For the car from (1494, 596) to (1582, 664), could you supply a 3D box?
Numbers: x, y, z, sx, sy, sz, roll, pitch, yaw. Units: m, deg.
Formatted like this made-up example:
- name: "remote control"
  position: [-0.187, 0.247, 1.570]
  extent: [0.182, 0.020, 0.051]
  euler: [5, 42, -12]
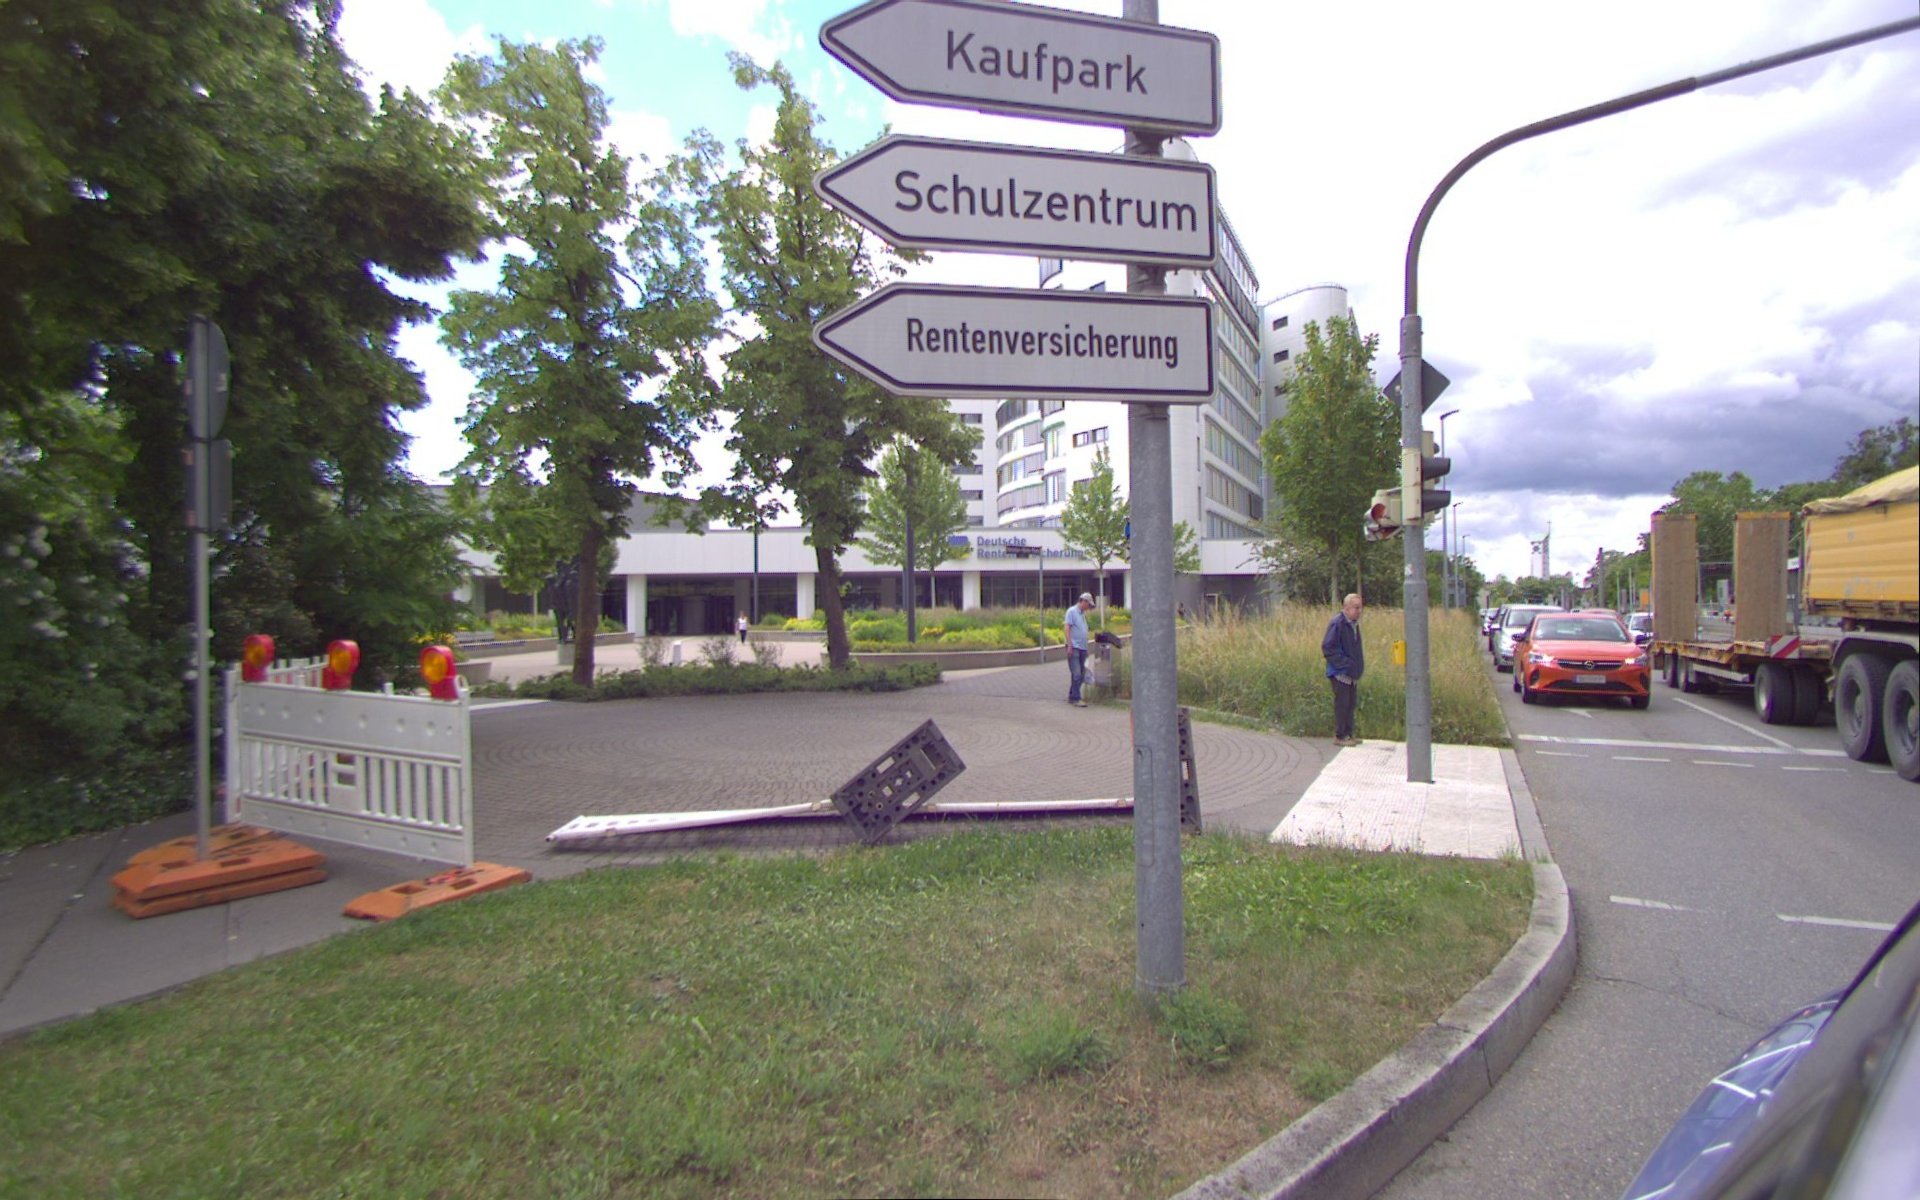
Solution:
- name: "car"
  position: [14.508, 0.717, 25.551]
  extent: [1.722, 1.594, 3.414]
  euler: [-1, -1, 27]

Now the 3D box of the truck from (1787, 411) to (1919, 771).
- name: "truck"
  position: [9.225, -0.080, 7.748]
  extent: [2.701, 3.041, 7.709]
  euler: [-1, 0, 26]

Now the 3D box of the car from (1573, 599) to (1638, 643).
- name: "car"
  position: [24.409, 0.761, 38.373]
  extent: [1.677, 1.498, 3.962]
  euler: [-1, 0, 27]

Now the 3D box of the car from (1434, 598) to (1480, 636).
- name: "car"
  position: [21.864, 0.718, 44.548]
  extent: [1.722, 1.594, 3.414]
  euler: [-1, -1, 27]

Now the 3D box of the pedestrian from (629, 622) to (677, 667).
- name: "pedestrian"
  position: [-6.235, 0.892, 20.550]
  extent: [0.645, 0.875, 0.691]
  euler: [0, -1, 25]

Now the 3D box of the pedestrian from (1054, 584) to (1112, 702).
- name: "pedestrian"
  position: [1.958, 0.667, 16.090]
  extent: [0.688, 1.813, 0.720]
  euler: [-1, -1, 32]

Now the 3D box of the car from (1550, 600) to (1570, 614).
- name: "car"
  position: [68.177, 0.790, 115.003]
  extent: [1.690, 1.476, 3.531]
  euler: [-1, -1, 28]

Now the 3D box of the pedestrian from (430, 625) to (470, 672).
- name: "pedestrian"
  position: [-11.100, 1.045, 22.029]
  extent: [0.735, 0.960, 0.714]
  euler: [0, -1, -24]

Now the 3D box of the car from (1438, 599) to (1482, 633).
- name: "car"
  position: [24.200, 0.745, 48.984]
  extent: [1.833, 1.594, 4.580]
  euler: [-1, 0, 26]

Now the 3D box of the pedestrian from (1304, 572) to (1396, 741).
- name: "pedestrian"
  position: [4.260, 0.597, 11.117]
  extent: [0.716, 1.762, 0.954]
  euler: [-1, -1, 8]

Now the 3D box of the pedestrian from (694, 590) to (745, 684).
- name: "pedestrian"
  position: [-4.485, 0.679, 18.897]
  extent: [0.645, 1.716, 0.691]
  euler: [0, -1, 25]

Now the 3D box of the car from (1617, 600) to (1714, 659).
- name: "car"
  position: [19.659, 0.772, 28.339]
  extent: [1.677, 1.498, 3.962]
  euler: [-1, 0, 27]

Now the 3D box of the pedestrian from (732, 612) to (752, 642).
- name: "pedestrian"
  position: [-9.655, 1.193, 44.815]
  extent: [0.867, 1.290, 0.706]
  euler: [0, -1, -12]

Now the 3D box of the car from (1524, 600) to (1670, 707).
- name: "car"
  position: [10.364, 0.777, 16.726]
  extent: [1.677, 1.498, 3.962]
  euler: [-1, 0, 27]

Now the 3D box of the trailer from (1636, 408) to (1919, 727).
- name: "trailer"
  position: [13.270, -0.364, 16.086]
  extent: [2.688, 3.567, 10.815]
  euler: [-1, -1, 26]

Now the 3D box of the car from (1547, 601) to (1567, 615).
- name: "car"
  position: [75.111, 1.019, 127.282]
  extent: [1.871, 1.794, 4.816]
  euler: [-1, -1, 27]
